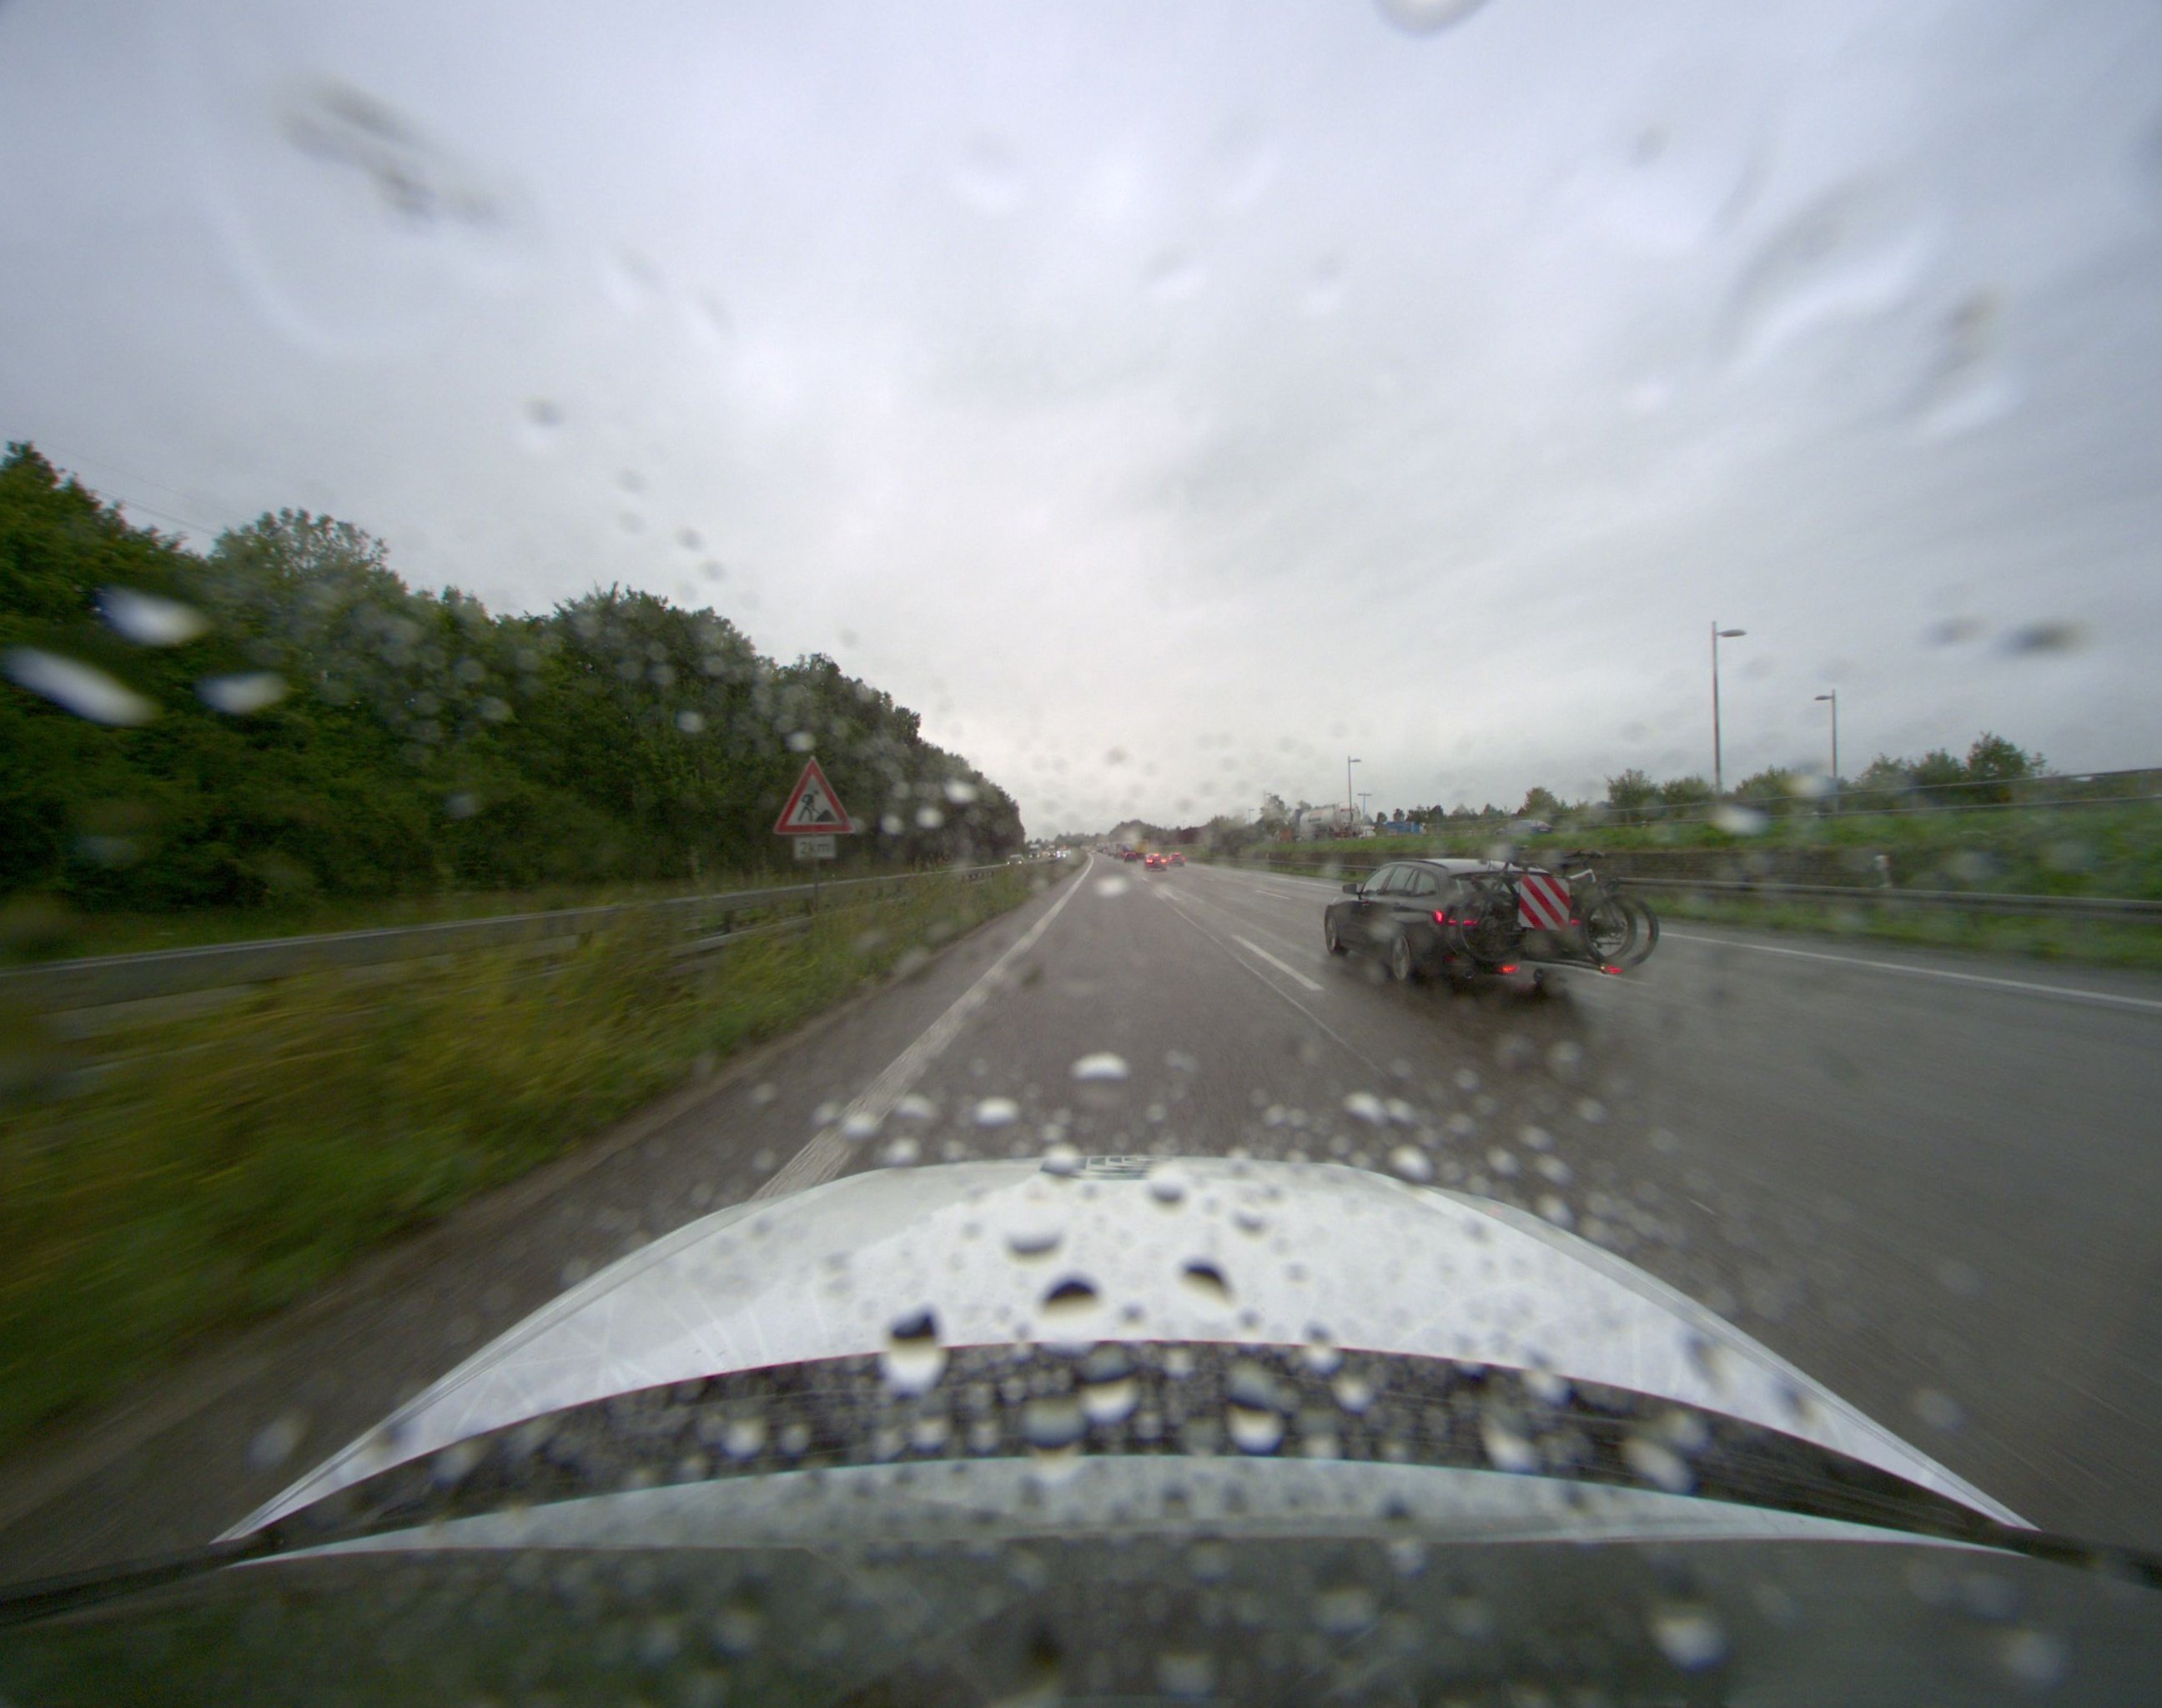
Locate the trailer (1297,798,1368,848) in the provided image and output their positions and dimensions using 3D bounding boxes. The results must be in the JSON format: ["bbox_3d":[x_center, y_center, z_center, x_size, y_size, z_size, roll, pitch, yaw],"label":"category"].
[{"bbox_3d":[23.573,-2.736,77.173,2.974,4.156,12.961,-2,0,2],"label":"trailer"}]

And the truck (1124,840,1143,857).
[{"bbox_3d":[12.728,-1.337,198.015,3.909,3.981,12.244,-2,0,2],"label":"truck"}]

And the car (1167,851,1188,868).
[{"bbox_3d":[10.724,0.624,90.866,1.986,1.761,4.002,-2,0,2],"label":"car"}]

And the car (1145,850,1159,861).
[{"bbox_3d":[11.829,0.259,135.997,1.986,1.628,4.002,-2,0,2],"label":"car"}]

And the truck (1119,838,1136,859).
[{"bbox_3d":[12.866,-1.460,227.571,4.271,5.568,12.244,-2,0,2],"label":"truck"}]

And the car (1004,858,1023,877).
[{"bbox_3d":[-7.236,1.423,87.364,1.598,1.884,3.573,-2,0,2],"label":"car"}]

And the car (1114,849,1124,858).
[{"bbox_3d":[7.453,-0.068,159.886,1.986,1.628,4.002,-2,0,2],"label":"car"}]

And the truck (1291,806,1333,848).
[{"bbox_3d":[23.812,-2.718,84.174,2.938,4.145,4.925,-2,0,2],"label":"truck"}]

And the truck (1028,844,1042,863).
[{"bbox_3d":[-12.525,-0.209,221.837,2.979,4.936,9.486,-2,0,2],"label":"truck"}]

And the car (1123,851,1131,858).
[{"bbox_3d":[11.998,0.090,213.463,1.986,1.628,4.002,-2,0,2],"label":"car"}]

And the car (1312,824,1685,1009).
[{"bbox_3d":[4.580,0.615,10.183,2.049,1.671,5.525,0,-1,3],"label":"car"}]

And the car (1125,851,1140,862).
[{"bbox_3d":[7.682,0.380,121.571,1.986,1.628,4.002,-2,0,2],"label":"car"}]

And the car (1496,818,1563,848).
[{"bbox_3d":[27.487,-1.249,50.071,1.783,1.624,3.996,-2,0,-2],"label":"car"}]

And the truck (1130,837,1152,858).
[{"bbox_3d":[12.002,-1.245,164.421,3.909,3.981,12.244,-2,0,2],"label":"truck"}]

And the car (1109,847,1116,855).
[{"bbox_3d":[8.413,-0.752,218.327,1.986,2.205,4.002,-2,0,2],"label":"car"}]

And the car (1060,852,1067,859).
[{"bbox_3d":[-4.294,0.409,202.046,1.598,1.583,3.573,-2,0,2],"label":"car"}]

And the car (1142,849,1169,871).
[{"bbox_3d":[6.420,0.497,70.426,1.986,1.761,4.002,-2,0,2],"label":"car"}]

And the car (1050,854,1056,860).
[{"bbox_3d":[-8.223,0.905,240.760,1.598,1.583,3.573,-2,0,2],"label":"car"}]
